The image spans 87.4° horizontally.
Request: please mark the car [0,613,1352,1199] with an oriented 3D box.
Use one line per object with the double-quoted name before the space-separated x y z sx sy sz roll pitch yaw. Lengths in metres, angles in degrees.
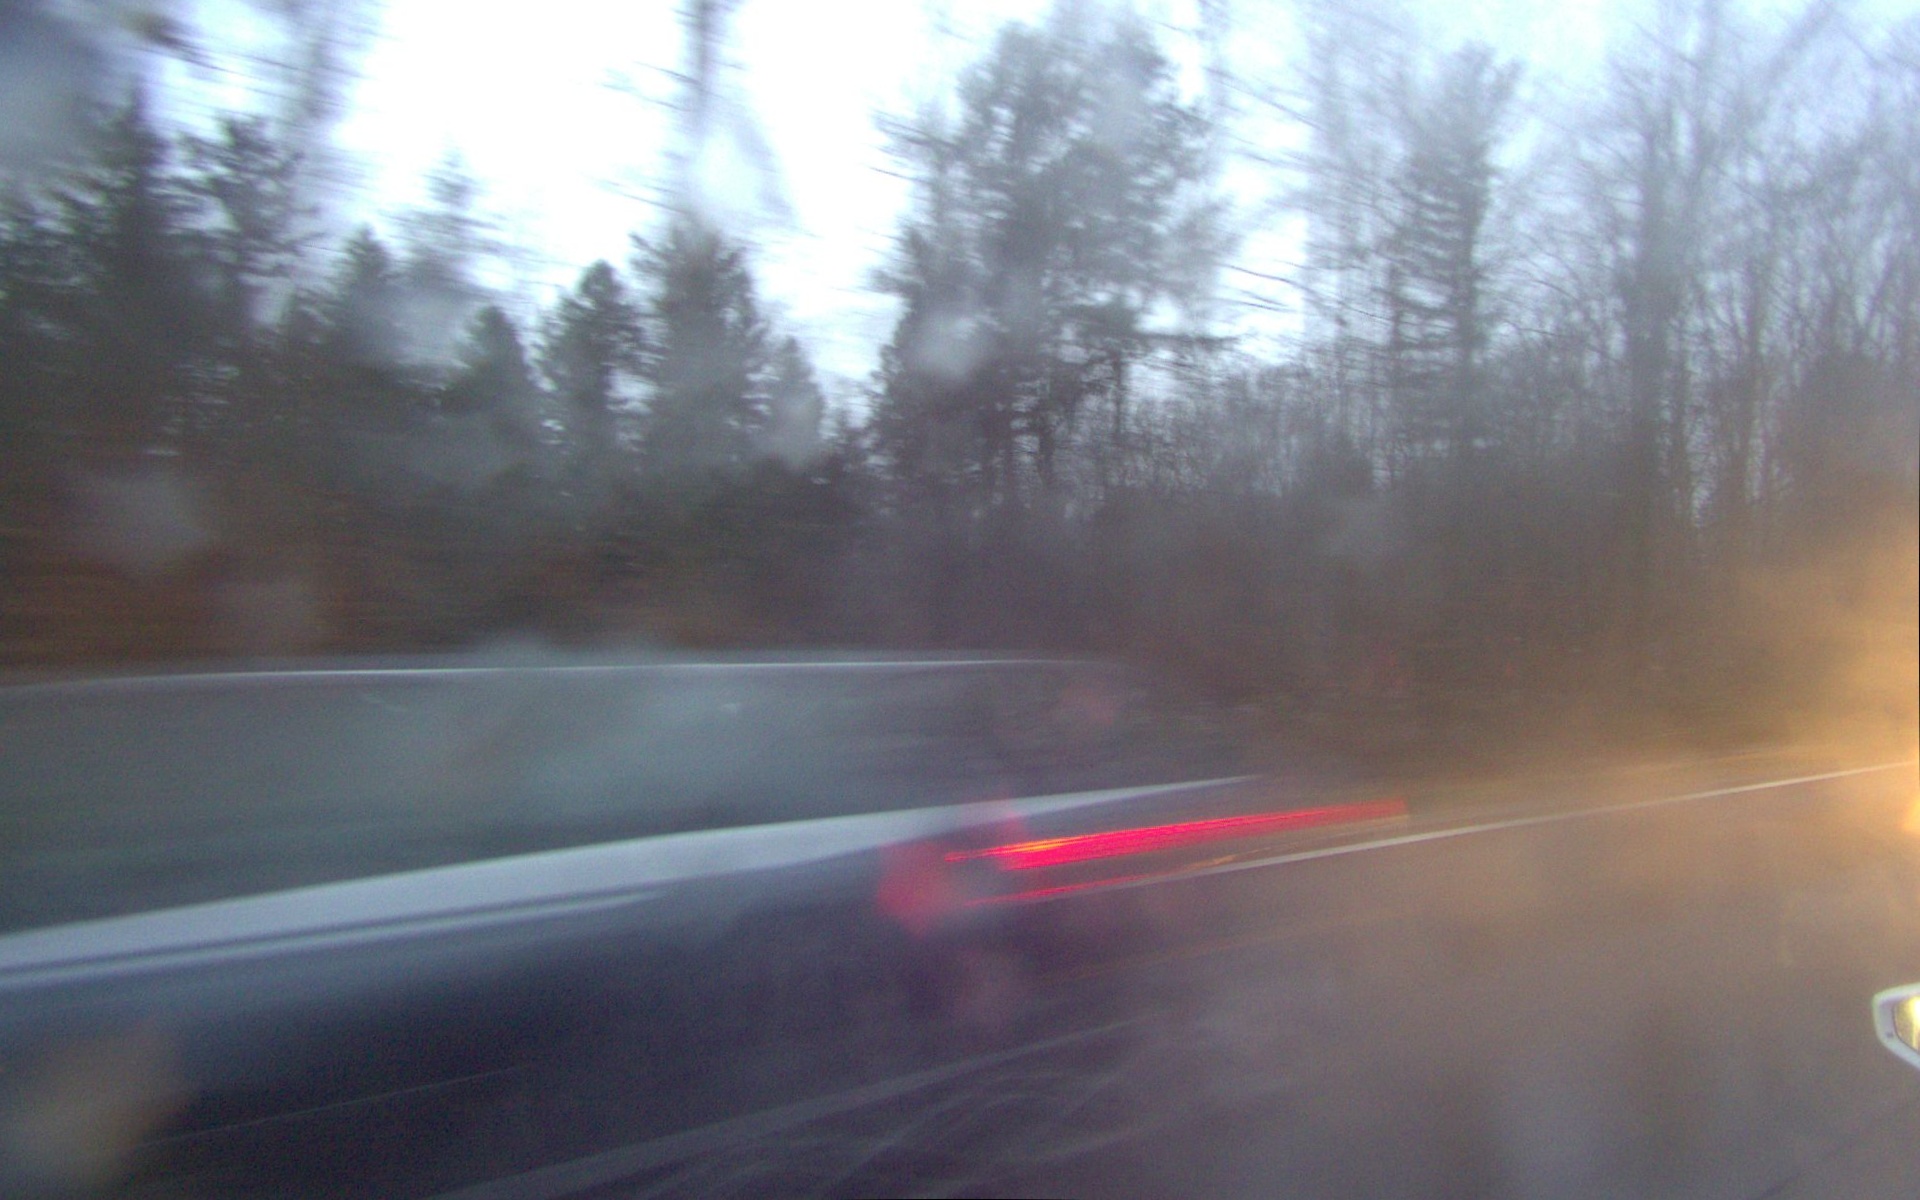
"car" -0.922 0.773 2.787 3.953 1.439 1.683 1 -2 -31
